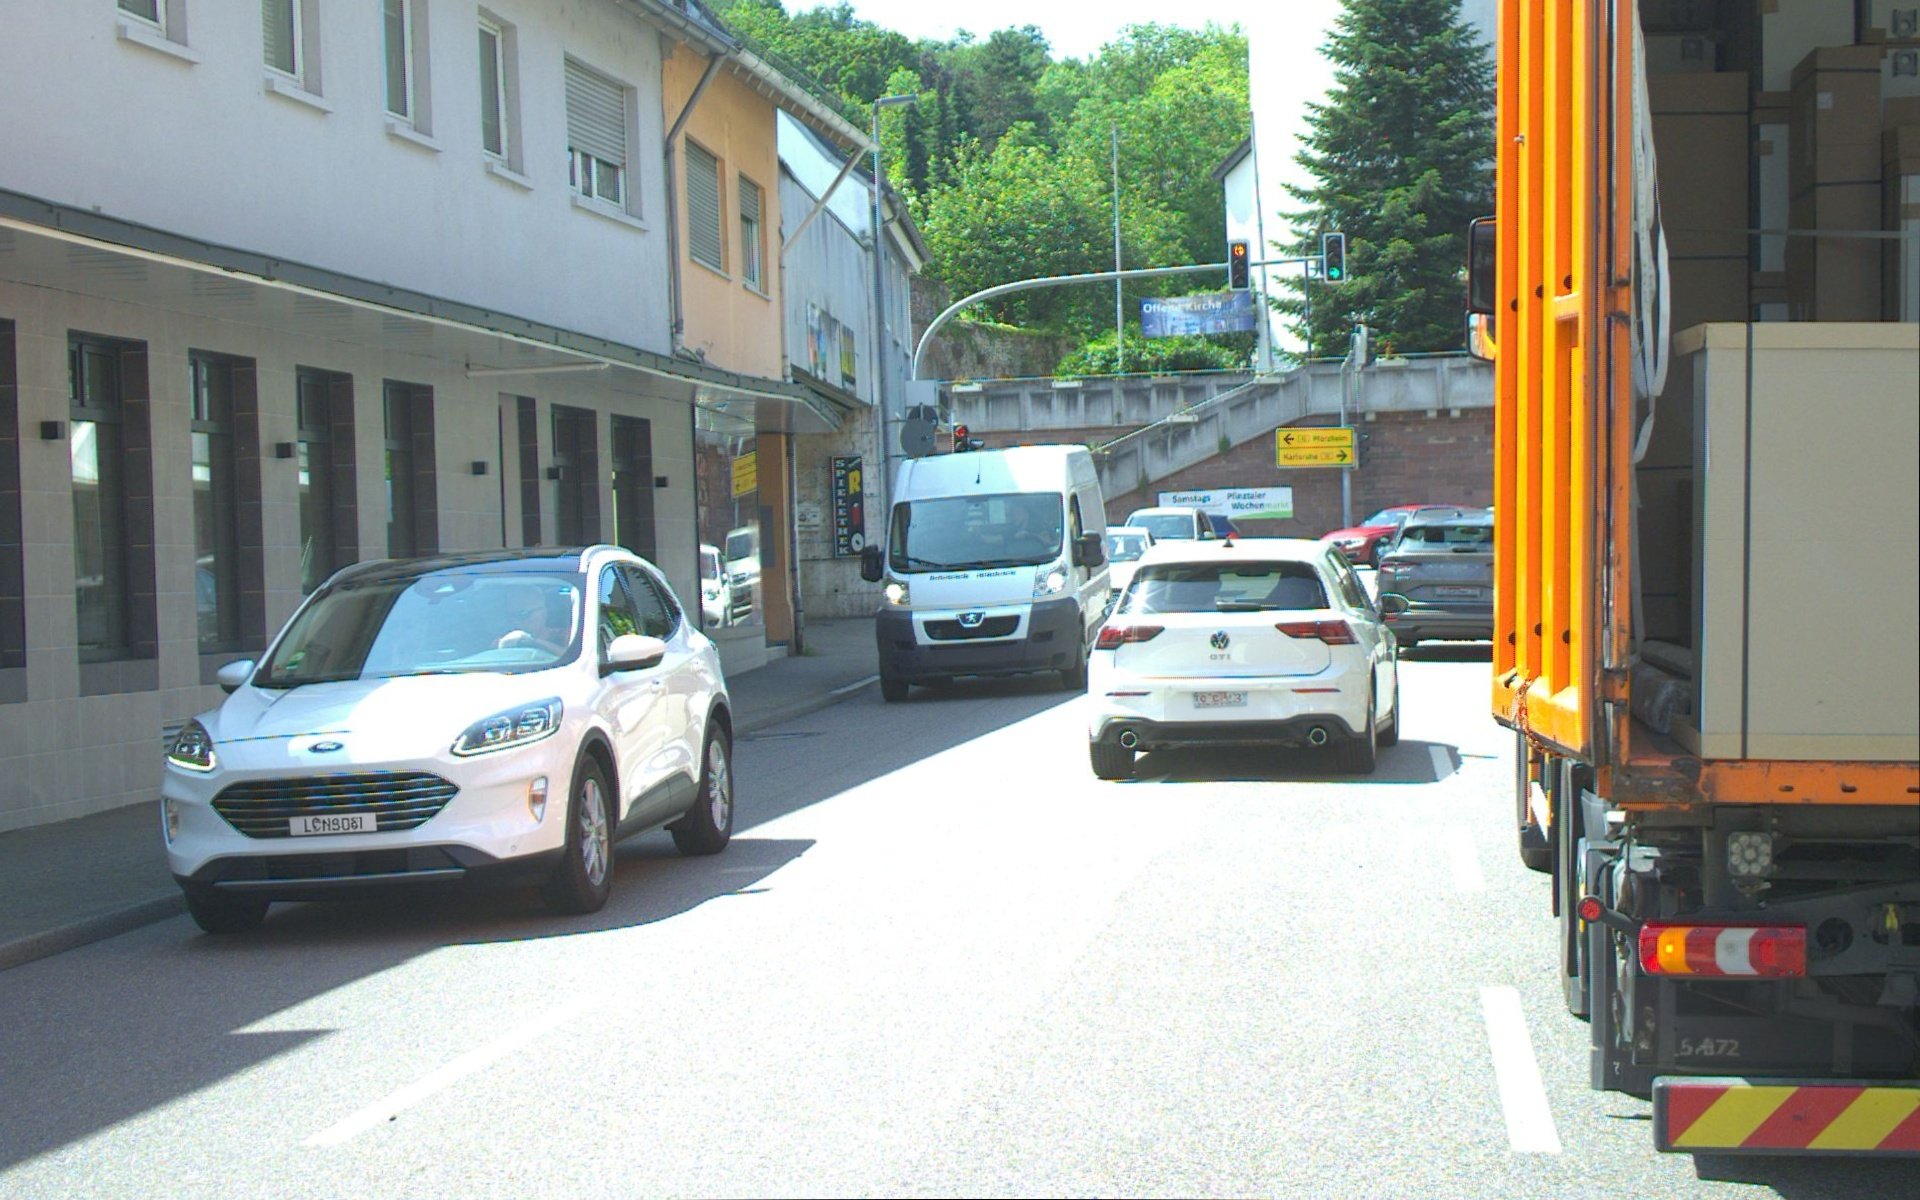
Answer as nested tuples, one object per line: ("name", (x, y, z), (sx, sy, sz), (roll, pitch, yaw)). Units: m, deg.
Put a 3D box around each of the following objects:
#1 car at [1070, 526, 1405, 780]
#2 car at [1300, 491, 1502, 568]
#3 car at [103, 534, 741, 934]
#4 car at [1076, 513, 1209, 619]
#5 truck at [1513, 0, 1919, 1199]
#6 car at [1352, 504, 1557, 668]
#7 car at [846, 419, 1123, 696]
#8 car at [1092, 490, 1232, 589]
("car", (1.883, 0.279, 22.267), (1.783, 1.453, 3.862), (-1, 1, 10))
("car", (10.082, -1.614, 78.516), (4.270, 1.404, 1.723), (-5, 2, -27))
("car", (-2.373, 0.547, 16.332), (1.818, 1.549, 4.197), (-4, 0, 7))
("car", (2.791, -0.537, 52.004), (1.597, 1.450, 3.446), (-4, 1, 9))
("truck", (3.272, -0.700, 11.801), (2.609, 3.931, 9.990), (1, 2, 9))
("car", (5.488, -0.204, 38.598), (1.949, 1.577, 4.326), (-1, 3, 4))
("car", (0.362, -0.470, 35.907), (2.140, 2.560, 5.392), (-3, 1, 7))
("car", (3.813, -1.158, 64.415), (1.680, 1.611, 3.818), (-4, 2, 17))
